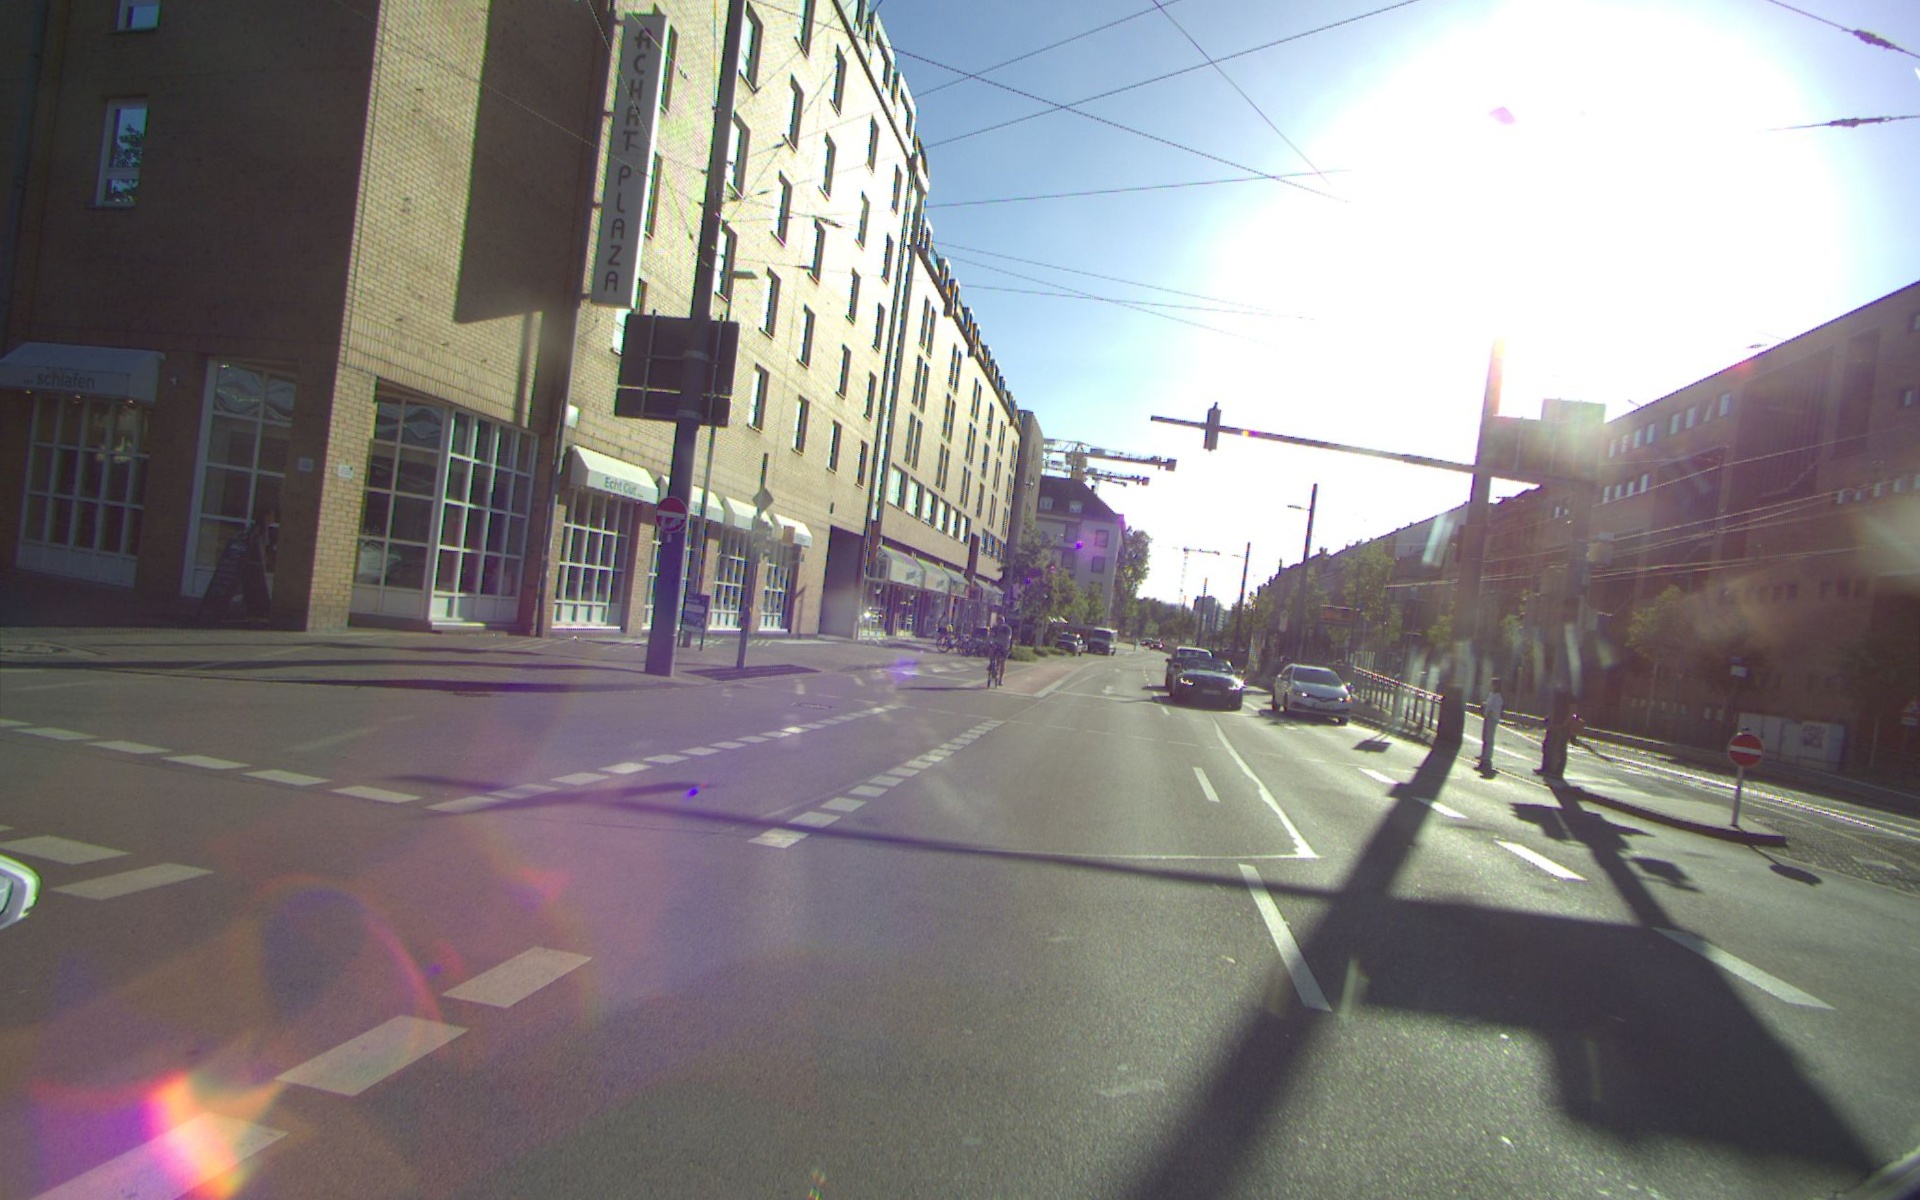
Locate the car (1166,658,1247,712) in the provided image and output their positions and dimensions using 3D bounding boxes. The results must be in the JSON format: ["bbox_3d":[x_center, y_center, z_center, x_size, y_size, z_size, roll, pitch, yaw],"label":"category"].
[{"bbox_3d":[7.202,2.447,29.736,1.810,1.283,4.235,6,-2,8],"label":"car"}]

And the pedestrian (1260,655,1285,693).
[{"bbox_3d":[17.133,4.064,55.173,0.848,1.909,0.737,8,1,0],"label":"pedestrian"}]

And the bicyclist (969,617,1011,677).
[{"bbox_3d":[0.758,1.185,25.487,0.797,1.393,0.926,7,-1,9],"label":"bicyclist"}]

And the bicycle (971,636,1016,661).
[{"bbox_3d":[1.615,2.353,48.727,2.002,0.932,0.483,7,-1,21],"label":"bicycle"}]

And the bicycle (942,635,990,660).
[{"bbox_3d":[0.252,2.113,44.943,2.002,0.855,0.483,7,-1,21],"label":"bicycle"}]

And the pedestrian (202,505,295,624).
[{"bbox_3d":[-10.850,-0.531,15.375,0.740,1.686,0.740,7,0,-8],"label":"pedestrian"}]

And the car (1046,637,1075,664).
[{"bbox_3d":[7.766,3.884,77.650,1.810,1.857,4.112,6,-2,10],"label":"car"}]

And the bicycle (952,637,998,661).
[{"bbox_3d":[0.673,2.256,46.367,2.002,0.855,0.483,7,-1,21],"label":"bicycle"}]

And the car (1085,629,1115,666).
[{"bbox_3d":[13.193,4.413,95.172,2.339,3.034,8.476,7,-1,7],"label":"car"}]

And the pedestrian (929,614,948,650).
[{"bbox_3d":[-1.156,1.698,53.419,0.705,1.785,0.566,6,-1,13],"label":"pedestrian"}]

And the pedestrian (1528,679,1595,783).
[{"bbox_3d":[10.875,2.349,18.202,0.709,1.747,0.595,7,0,11],"label":"pedestrian"}]

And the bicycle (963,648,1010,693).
[{"bbox_3d":[0.697,1.768,25.550,0.797,1.002,2.511,7,-2,9],"label":"bicycle"}]

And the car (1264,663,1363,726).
[{"bbox_3d":[10.176,2.691,29.279,1.810,1.465,4.303,6,-2,9],"label":"car"}]

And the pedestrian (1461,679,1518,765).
[{"bbox_3d":[10.523,2.410,20.012,0.572,1.595,0.646,7,-1,-3],"label":"pedestrian"}]

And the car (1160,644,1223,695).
[{"bbox_3d":[8.647,2.570,37.910,1.810,1.631,4.235,6,-2,8],"label":"car"}]

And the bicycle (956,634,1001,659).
[{"bbox_3d":[0.874,2.202,47.745,2.002,0.932,0.483,7,-1,21],"label":"bicycle"}]
